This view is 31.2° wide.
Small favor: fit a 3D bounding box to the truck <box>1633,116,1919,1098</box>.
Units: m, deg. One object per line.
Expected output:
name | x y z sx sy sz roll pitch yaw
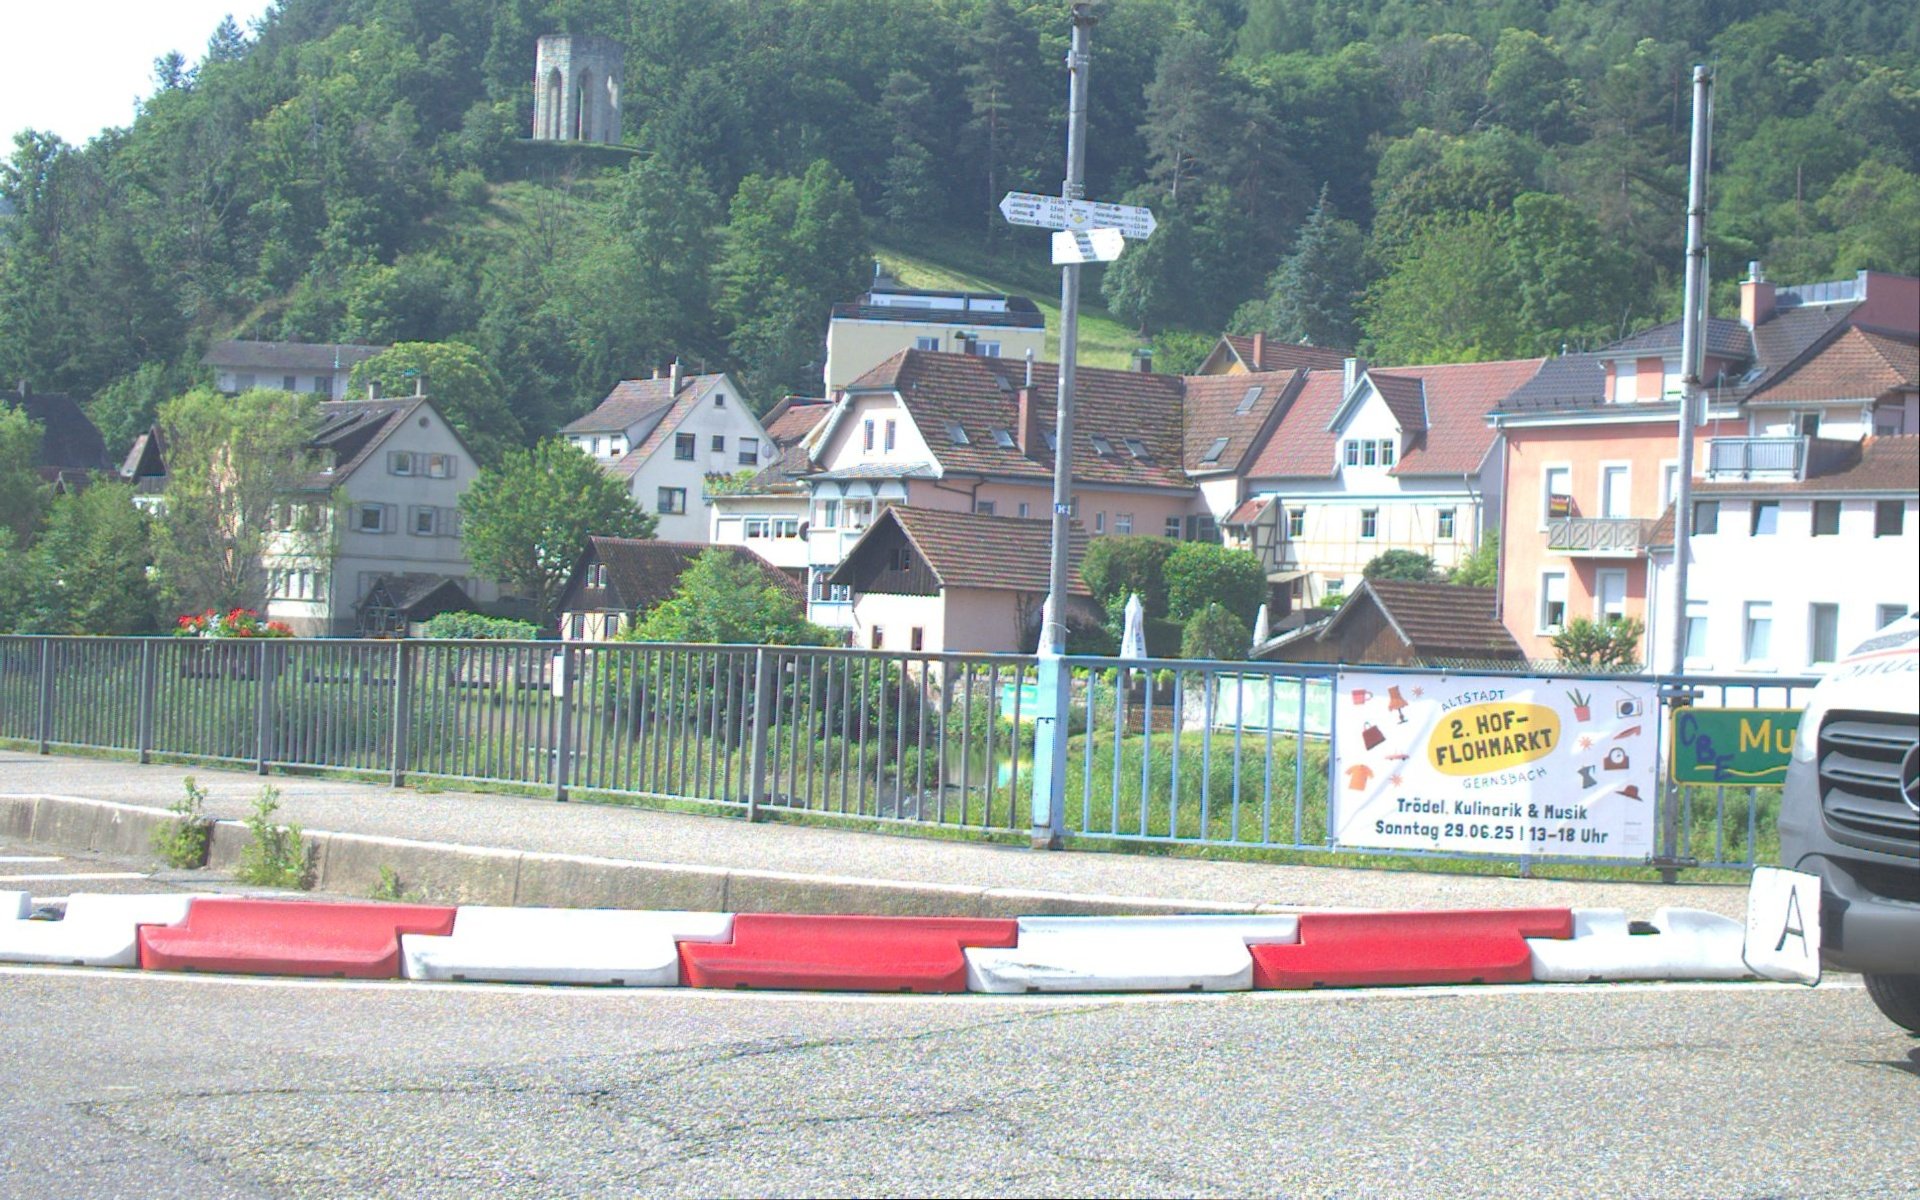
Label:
truck | 5.660 0.077 11.286 7.109 2.690 2.112 1 0 -30
